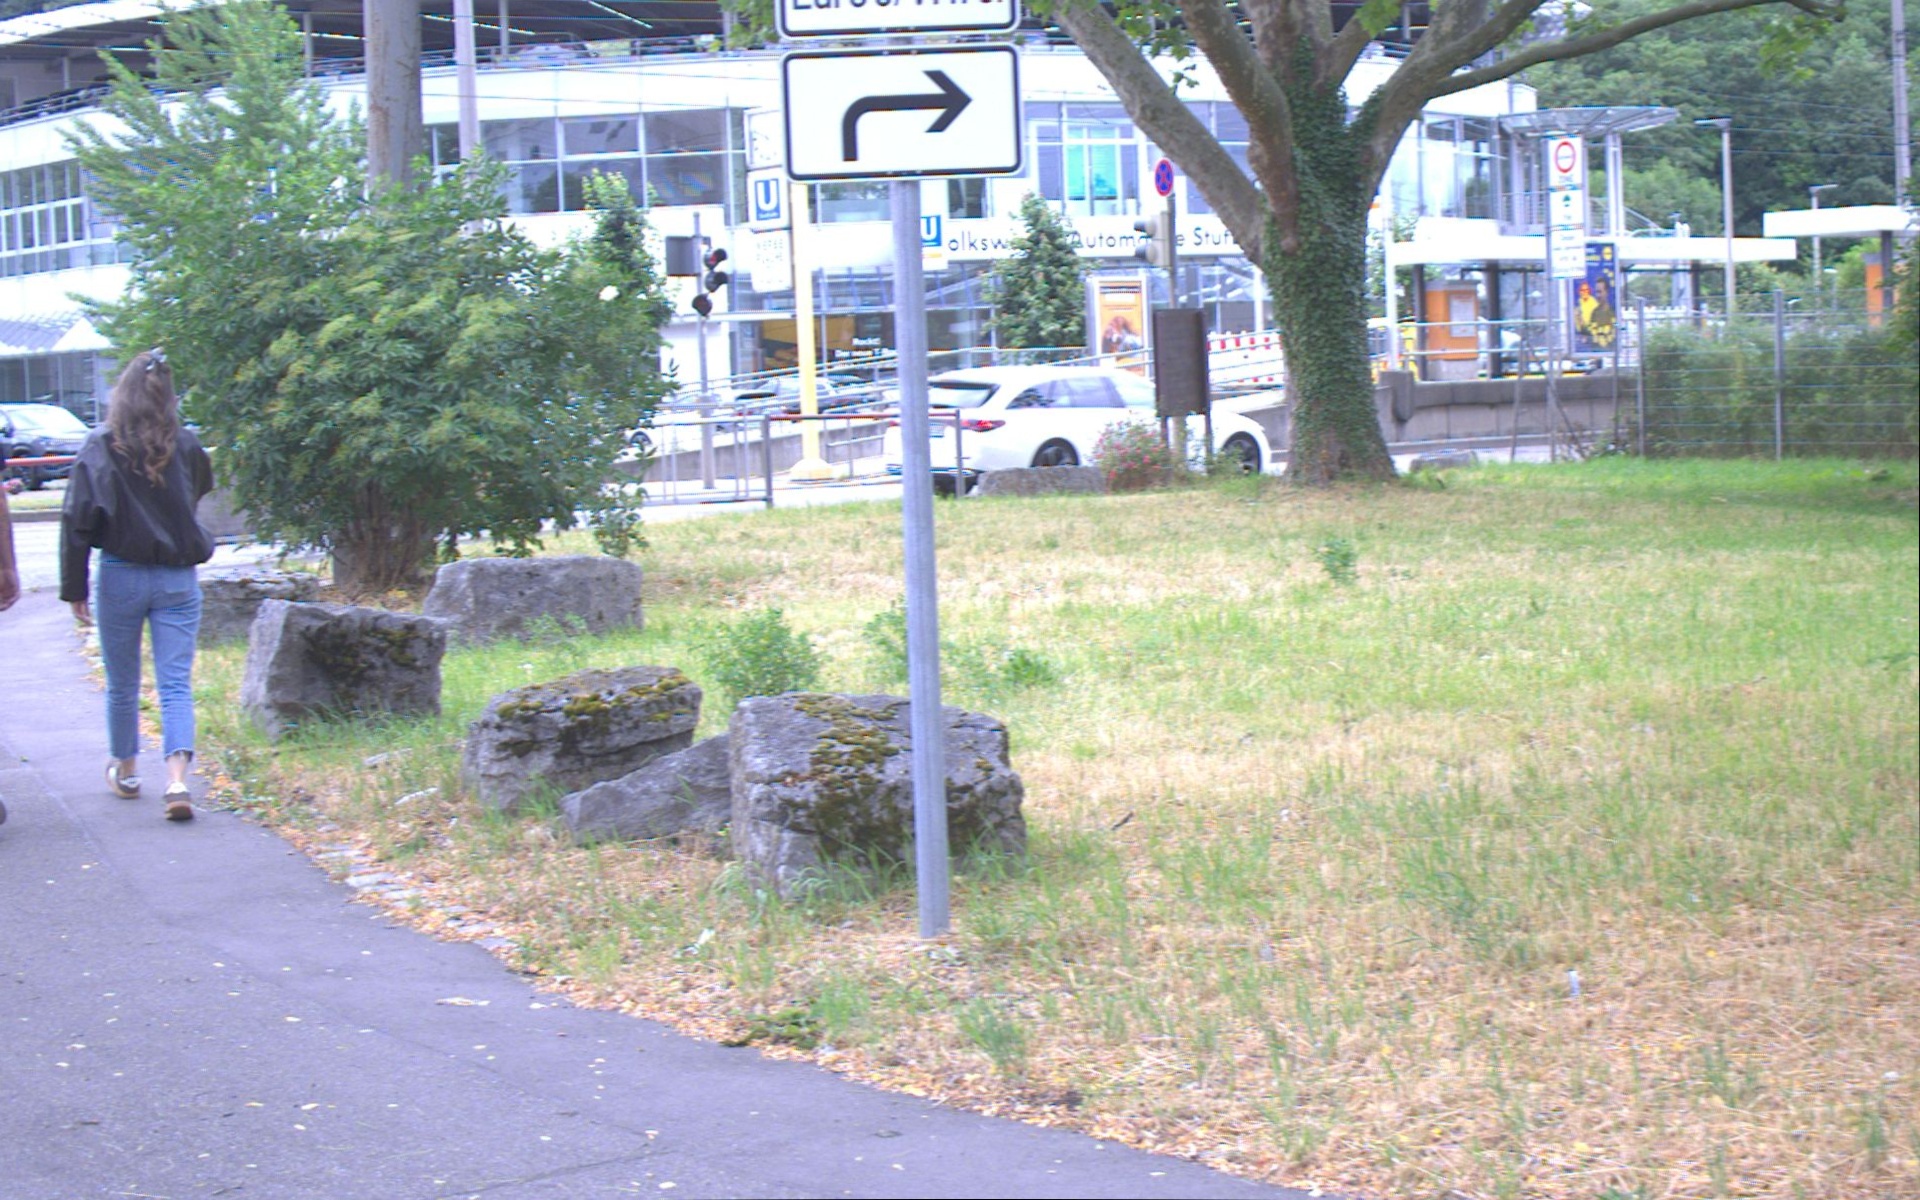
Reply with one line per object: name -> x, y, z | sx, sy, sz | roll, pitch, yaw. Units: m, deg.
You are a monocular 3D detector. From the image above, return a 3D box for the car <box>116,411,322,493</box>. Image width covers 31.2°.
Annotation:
car -> -14.754, -2.929, 68.354 | 4.018, 1.495, 1.772 | 1, 4, 38

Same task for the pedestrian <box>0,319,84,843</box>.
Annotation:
pedestrian -> -3.476, -0.060, 11.493 | 0.693, 1.708, 0.788 | -5, 4, -40

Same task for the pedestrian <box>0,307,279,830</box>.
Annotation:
pedestrian -> -2.921, -0.128, 11.970 | 0.693, 1.733, 0.788 | -5, 4, -40

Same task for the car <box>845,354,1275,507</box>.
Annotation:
car -> 1.188, -1.948, 38.823 | 4.884, 1.502, 1.804 | -5, 6, -41

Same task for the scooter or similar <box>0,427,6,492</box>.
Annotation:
scooter or similar -> -18.176, -2.520, 62.271 | 1.667, 1.173, 0.467 | -3, 4, -14

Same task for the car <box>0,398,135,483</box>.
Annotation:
car -> -17.670, -3.005, 65.179 | 3.877, 1.495, 1.772 | 0, 4, 36
